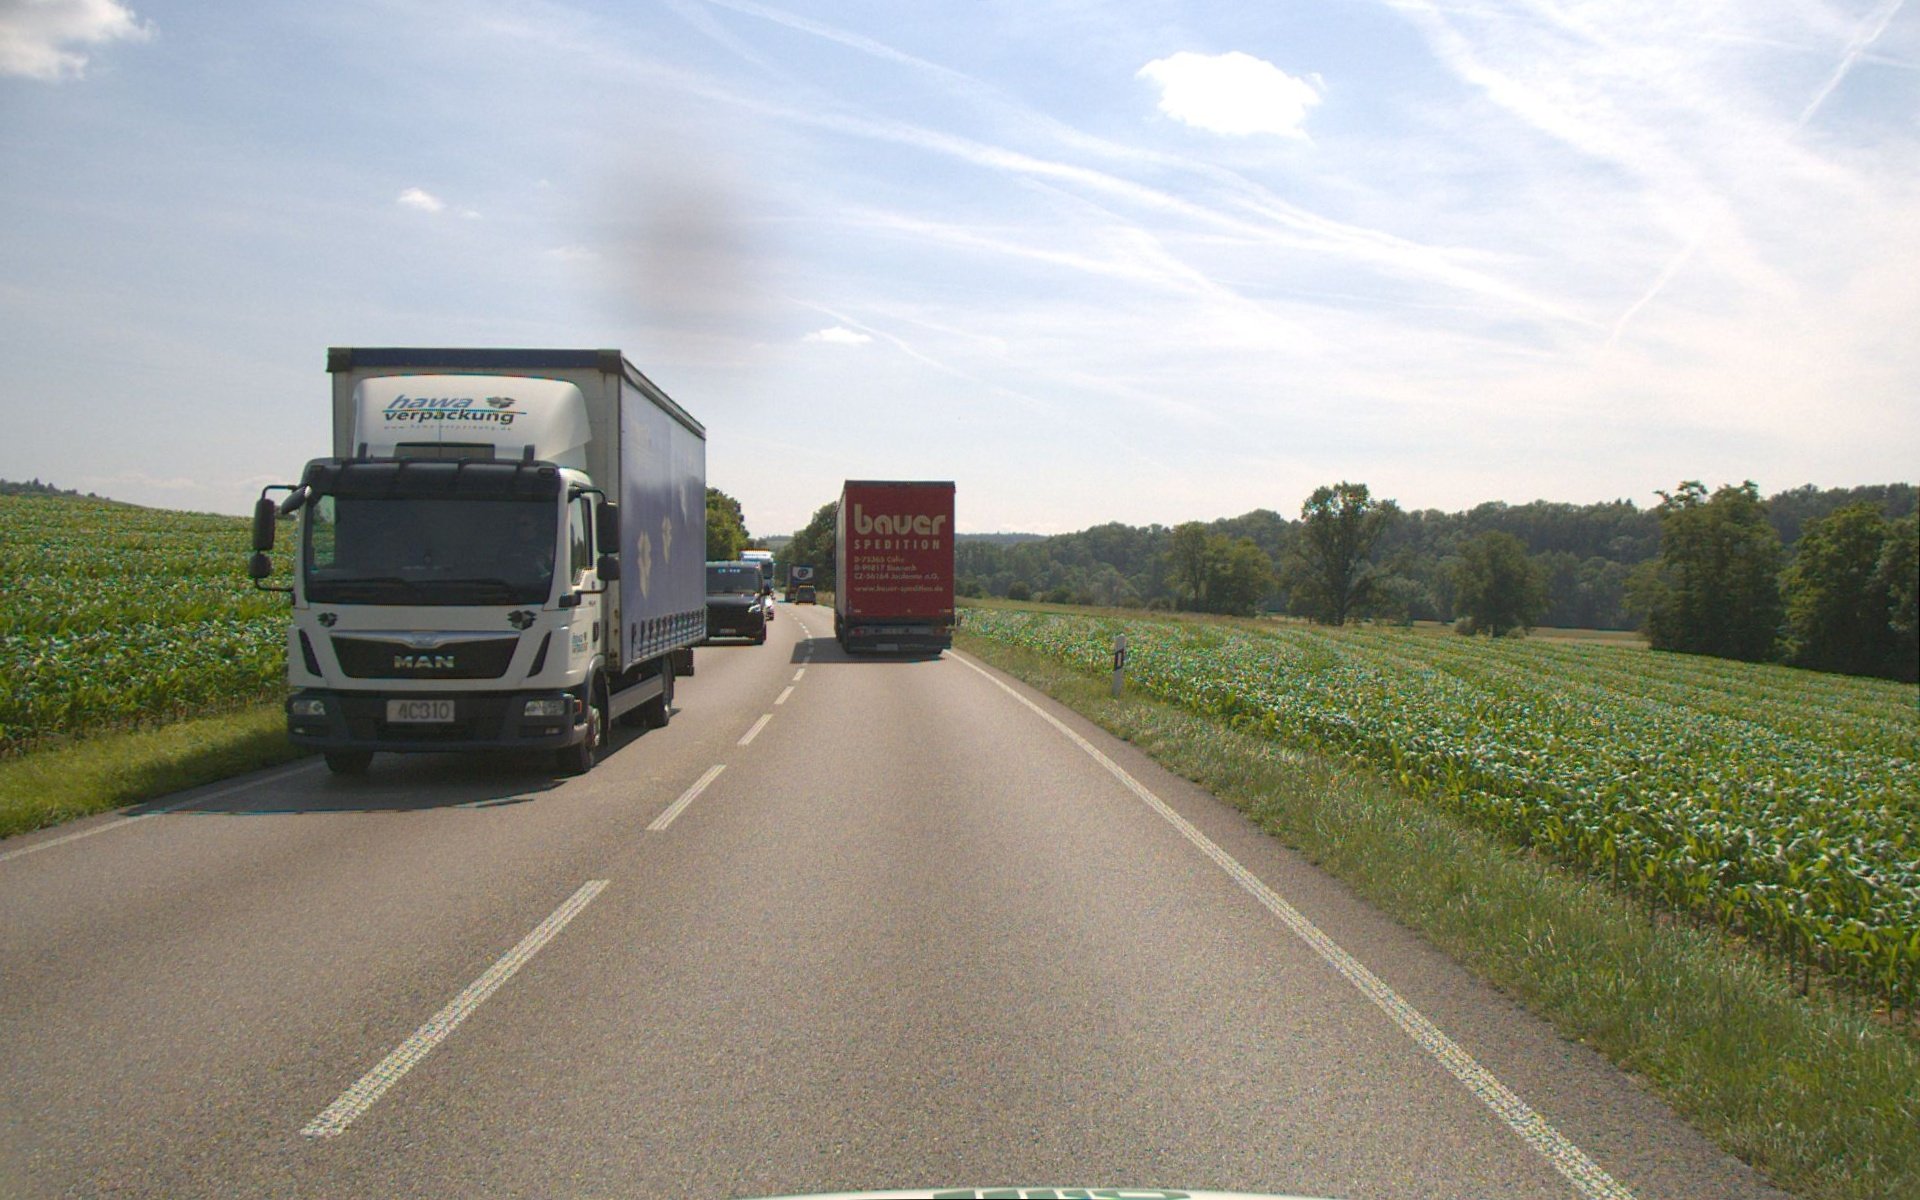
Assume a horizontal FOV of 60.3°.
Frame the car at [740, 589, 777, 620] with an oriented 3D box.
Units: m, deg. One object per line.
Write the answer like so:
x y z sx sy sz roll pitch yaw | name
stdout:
-9.822 0.202 80.818 1.694 1.466 4.172 0 0 -5 | car

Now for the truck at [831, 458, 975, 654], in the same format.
-1.574 -0.954 40.735 3.034 4.337 8.304 0 0 -5 | truck

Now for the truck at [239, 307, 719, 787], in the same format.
-4.371 -0.415 17.482 2.686 3.641 9.721 0 0 -3 | truck

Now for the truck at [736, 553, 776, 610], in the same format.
-15.465 -1.359 125.762 2.773 4.062 16.508 -1 0 -7 | truck

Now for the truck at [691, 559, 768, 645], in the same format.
-6.633 0.037 48.100 1.971 2.360 5.186 0 0 -5 | truck

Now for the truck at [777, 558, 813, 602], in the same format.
-17.293 -2.049 174.194 3.569 4.367 11.971 0 -1 -5 | truck

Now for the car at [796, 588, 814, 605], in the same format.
-13.790 -0.308 147.274 1.551 1.527 3.871 0 0 -6 | car
